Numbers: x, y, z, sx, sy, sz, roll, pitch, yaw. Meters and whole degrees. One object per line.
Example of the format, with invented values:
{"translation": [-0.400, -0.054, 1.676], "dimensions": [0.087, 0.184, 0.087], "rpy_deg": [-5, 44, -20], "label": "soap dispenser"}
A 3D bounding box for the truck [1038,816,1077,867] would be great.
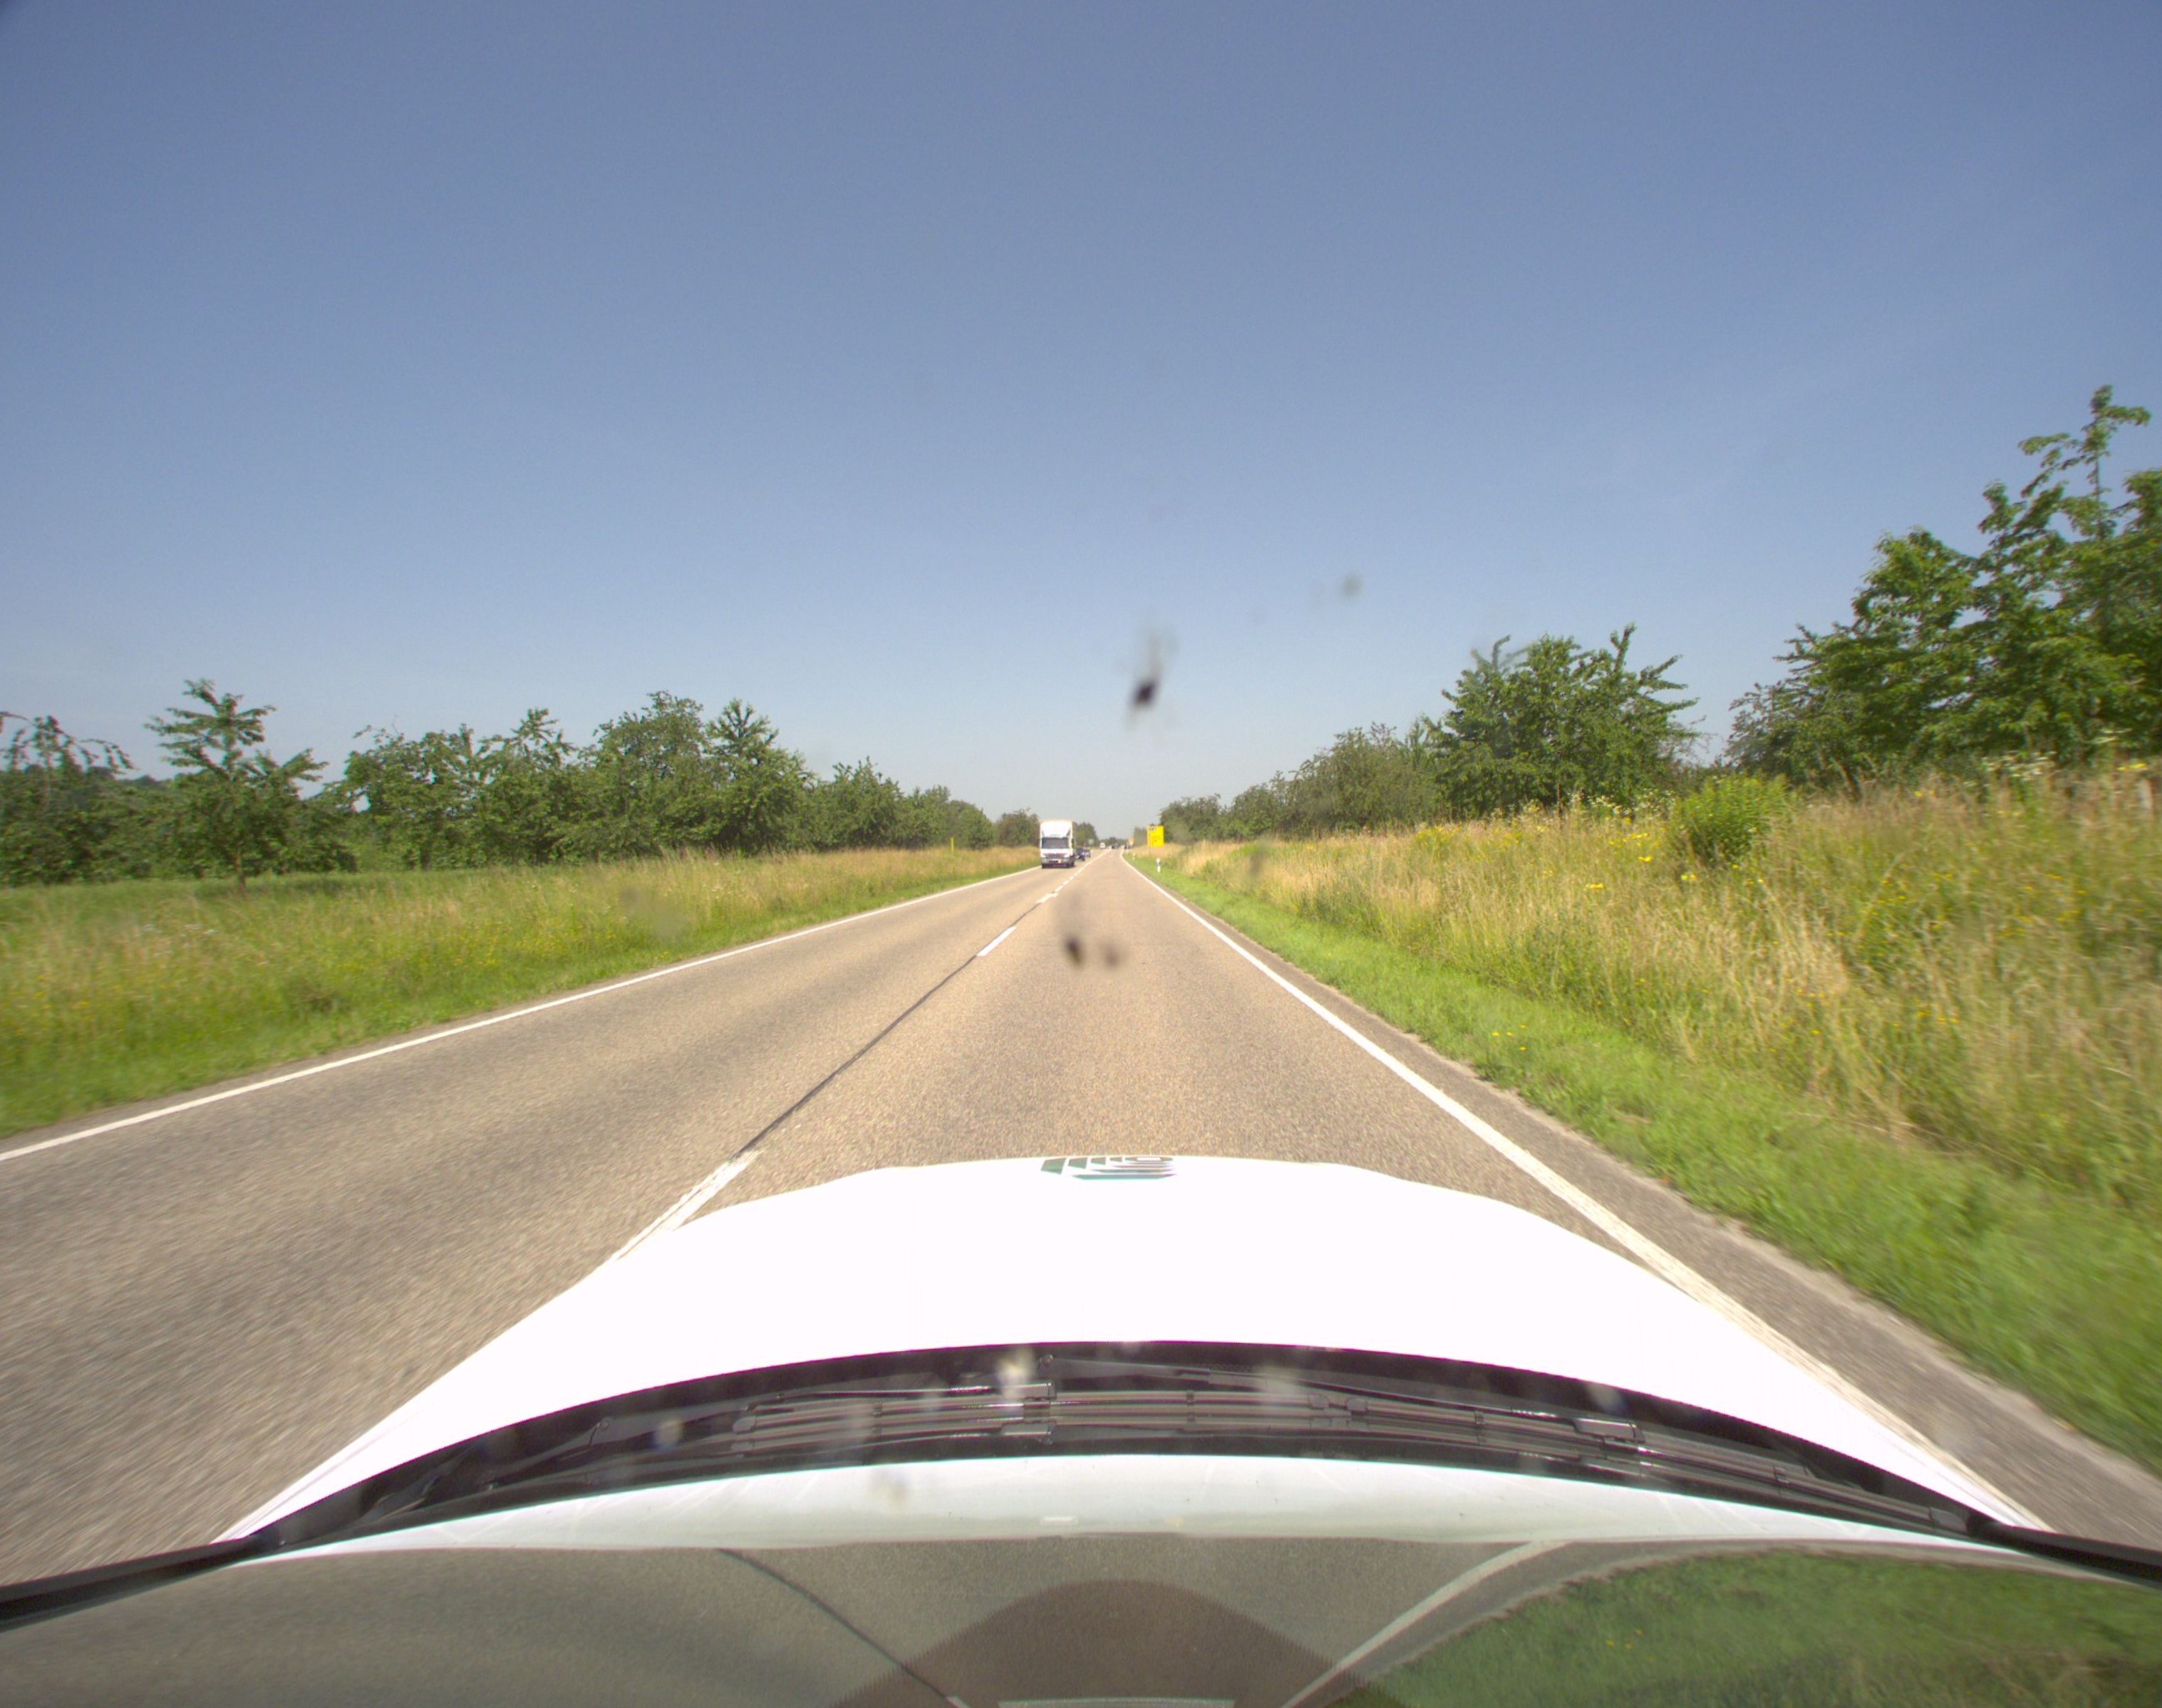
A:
{"translation": [-1.843, -0.984, 67.960], "dimensions": [2.655, 3.838, 10.212], "rpy_deg": [-1, 0, 1], "label": "truck"}

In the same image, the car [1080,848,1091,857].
{"translation": [0.765, -0.325, 134.268], "dimensions": [1.684, 1.408, 4.896], "rpy_deg": [-1, 0, 1], "label": "car"}

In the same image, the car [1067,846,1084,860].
{"translation": [-0.629, -0.108, 98.614], "dimensions": [1.829, 1.678, 4.412], "rpy_deg": [-1, 0, 1], "label": "car"}
